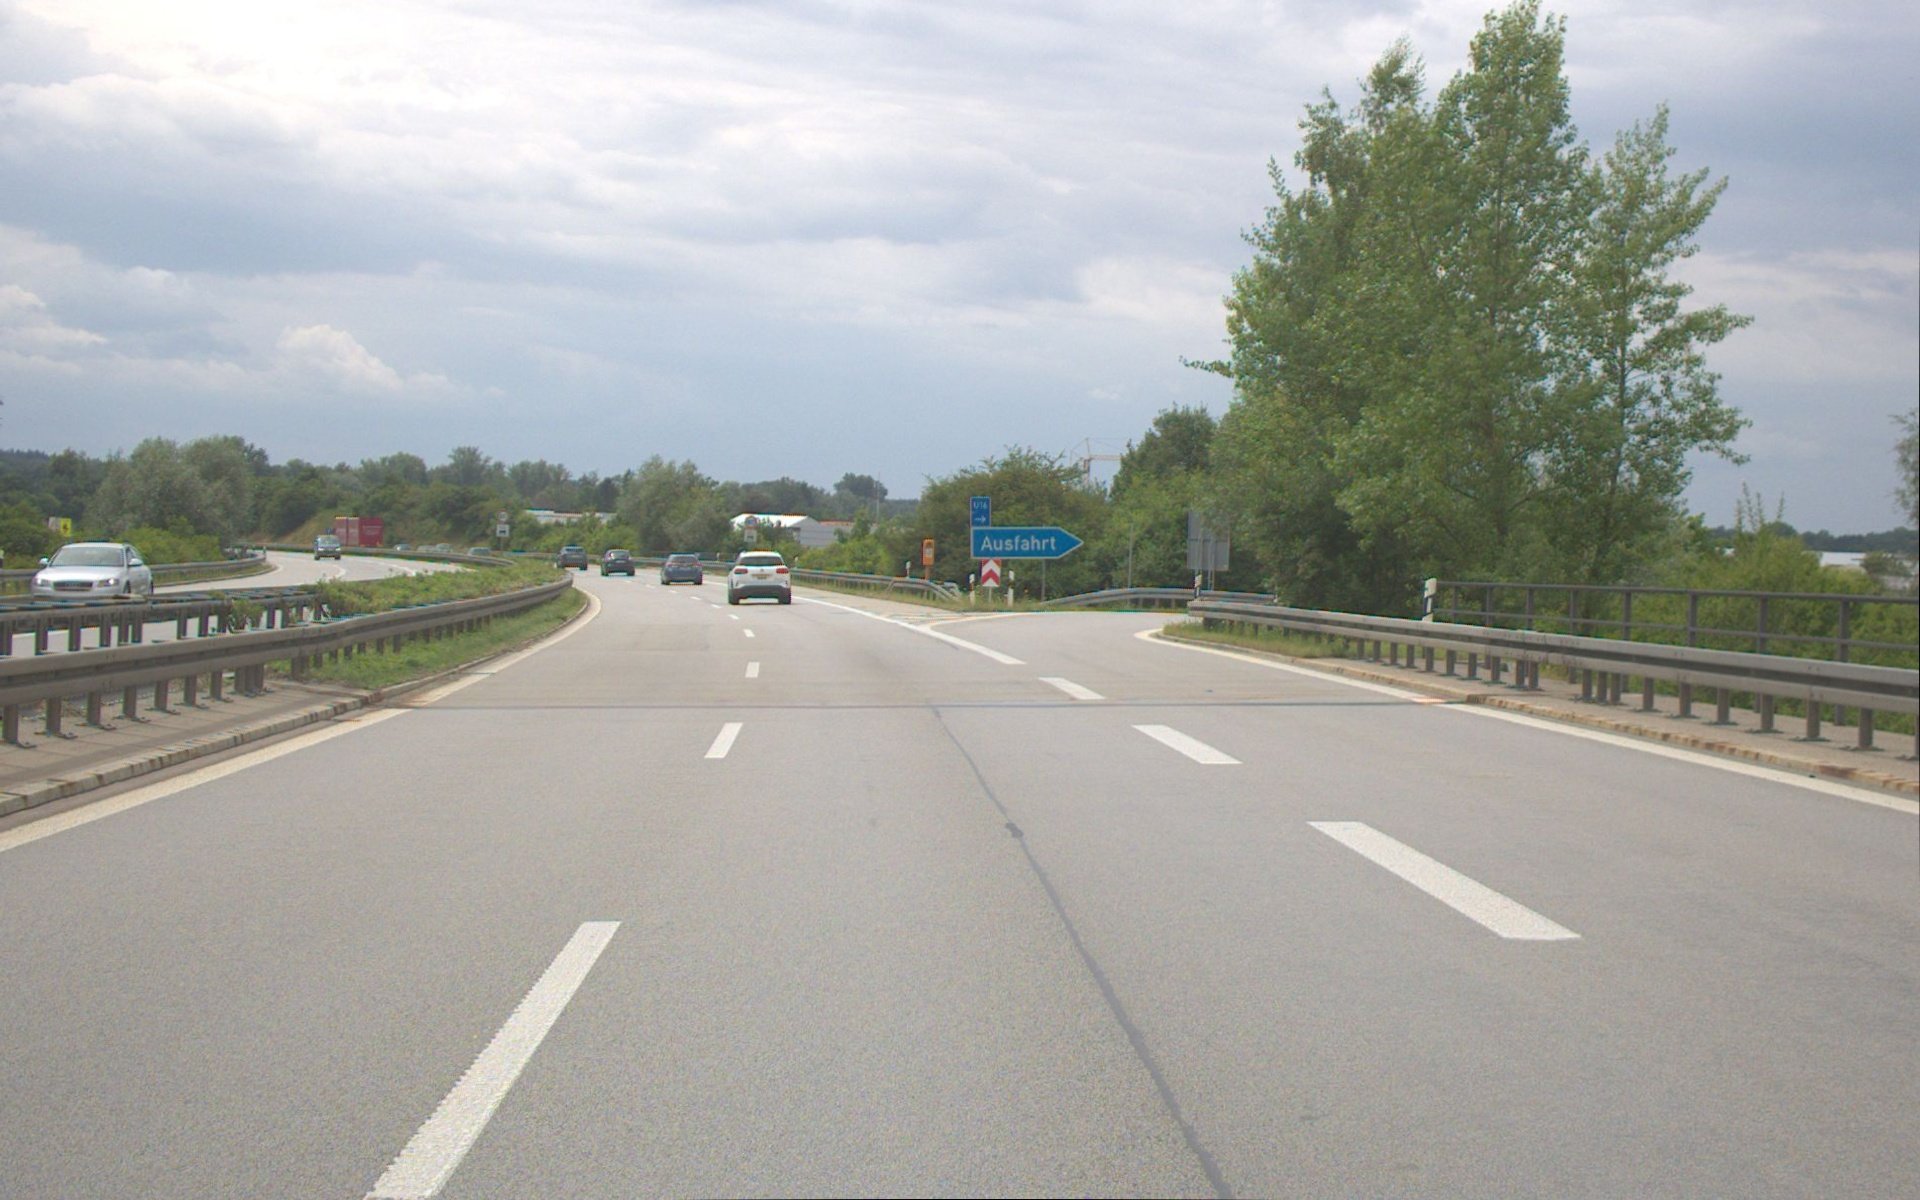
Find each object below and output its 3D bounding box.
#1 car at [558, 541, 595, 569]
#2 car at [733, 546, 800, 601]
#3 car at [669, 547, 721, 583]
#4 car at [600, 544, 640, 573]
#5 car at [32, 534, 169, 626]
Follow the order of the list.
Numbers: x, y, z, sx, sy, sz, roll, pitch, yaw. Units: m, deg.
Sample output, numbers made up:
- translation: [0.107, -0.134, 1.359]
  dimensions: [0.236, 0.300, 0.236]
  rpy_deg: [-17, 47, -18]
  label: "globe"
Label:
- translation: [-26.237, -3.070, 235.115]
  dimensions: [1.826, 1.787, 4.415]
  rpy_deg: [-2, 2, -15]
  label: "car"
- translation: [-6.111, -0.858, 108.274]
  dimensions: [1.902, 1.634, 4.397]
  rpy_deg: [1, 1, -6]
  label: "car"
- translation: [-12.444, -1.653, 161.341]
  dimensions: [1.892, 1.634, 4.623]
  rpy_deg: [1, 1, -11]
  label: "car"
- translation: [-20.182, -2.483, 204.132]
  dimensions: [1.902, 1.634, 4.781]
  rpy_deg: [1, 1, -11]
  label: "car"
- translation: [-16.910, -0.422, 67.839]
  dimensions: [1.642, 1.709, 4.981]
  rpy_deg: [1, 1, -3]
  label: "car"
